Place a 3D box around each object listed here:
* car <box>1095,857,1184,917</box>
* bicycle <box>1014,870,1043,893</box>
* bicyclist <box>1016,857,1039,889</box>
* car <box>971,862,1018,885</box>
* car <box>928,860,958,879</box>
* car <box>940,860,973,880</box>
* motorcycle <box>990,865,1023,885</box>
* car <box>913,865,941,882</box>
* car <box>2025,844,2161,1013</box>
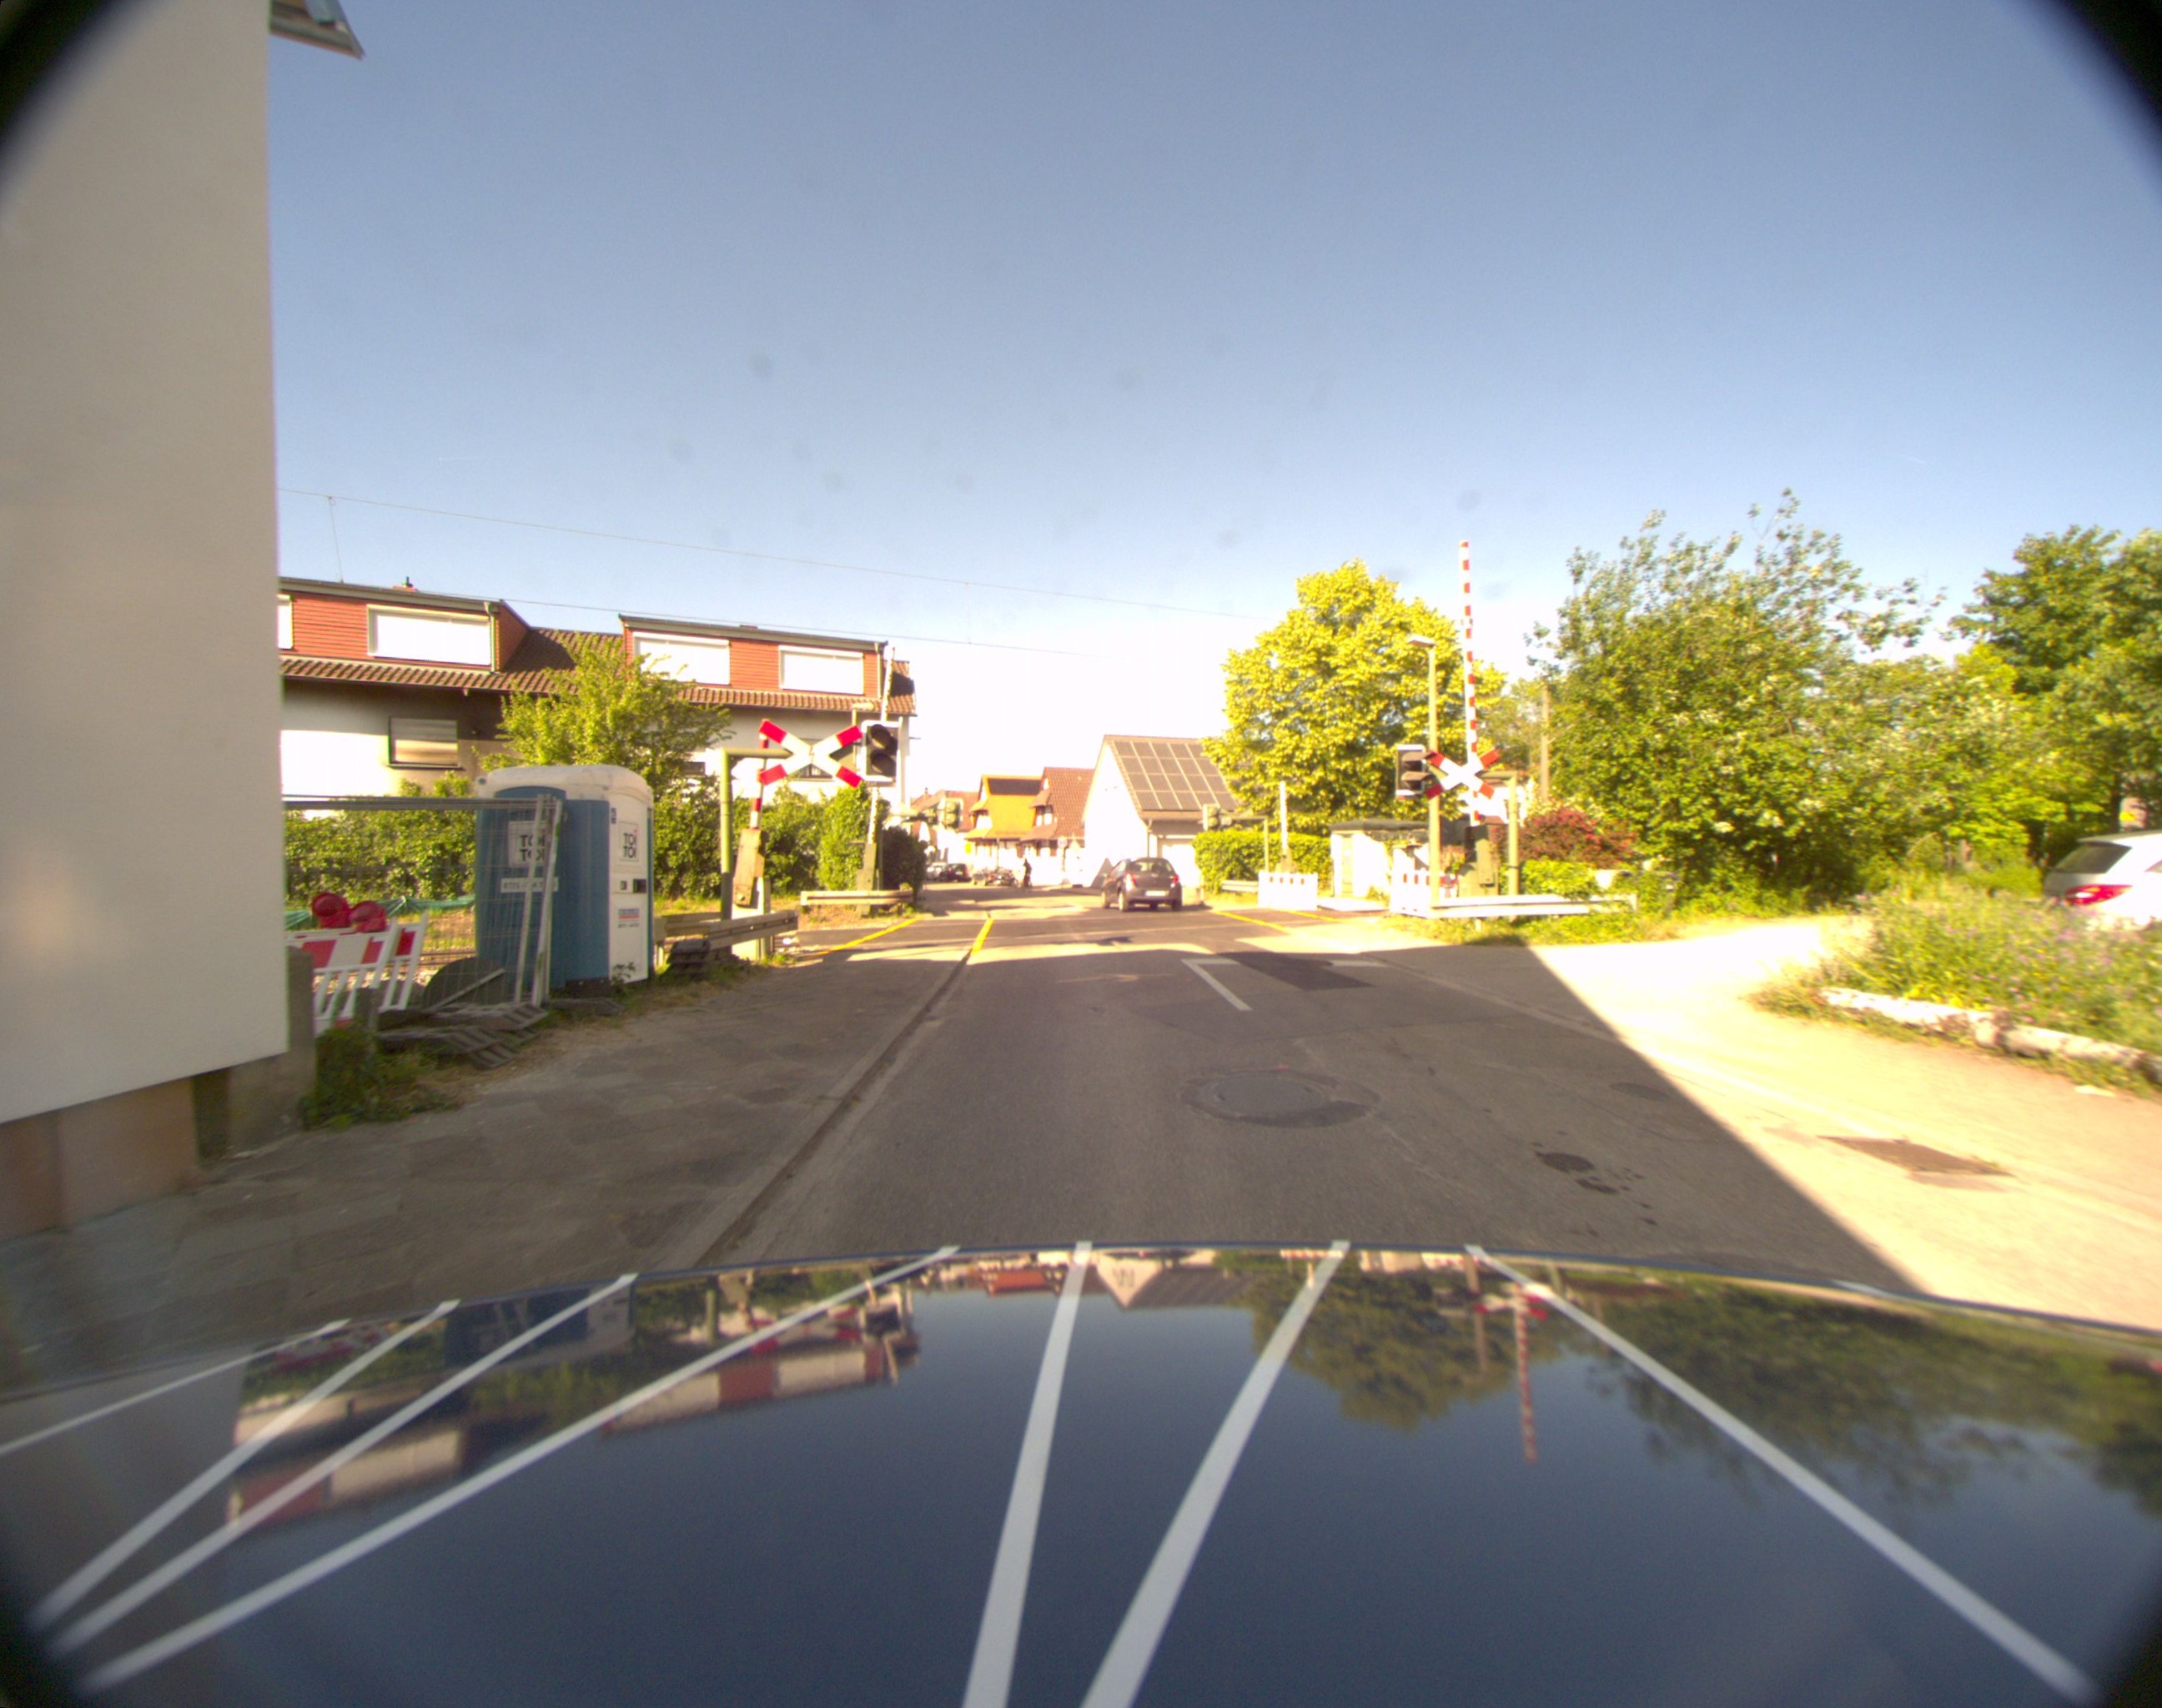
[{"bbox_3d":[1.573,0.884,21.670,1.692,1.501,3.651,1,0,-9],"label":"car"},{"bbox_3d":[-2.669,1.373,38.322,0.887,0.999,2.059,-3,1,-19],"label":"bicycle"},{"bbox_3d":[-2.683,0.937,38.253,0.851,1.532,0.871,-5,2,-20],"label":"bicyclist"},{"bbox_3d":[-5.963,1.310,51.839,1.853,1.398,5.027,2,0,-22],"label":"car"},{"bbox_3d":[-12.201,1.327,67.172,1.824,1.557,4.160,0,0,-22],"label":"car"},{"bbox_3d":[-10.233,1.264,62.261,1.791,1.595,4.353,0,0,-22],"label":"car"},{"bbox_3d":[-4.742,1.336,48.449,1.990,1.224,0.628,0,-1,22],"label":"motorcycle"},{"bbox_3d":[-14.901,1.862,73.358,1.750,1.604,3.992,0,0,-25],"label":"car"},{"bbox_3d":[11.713,0.680,6.763,3.988,1.555,1.692,-1,1,45],"label":"car"}]
